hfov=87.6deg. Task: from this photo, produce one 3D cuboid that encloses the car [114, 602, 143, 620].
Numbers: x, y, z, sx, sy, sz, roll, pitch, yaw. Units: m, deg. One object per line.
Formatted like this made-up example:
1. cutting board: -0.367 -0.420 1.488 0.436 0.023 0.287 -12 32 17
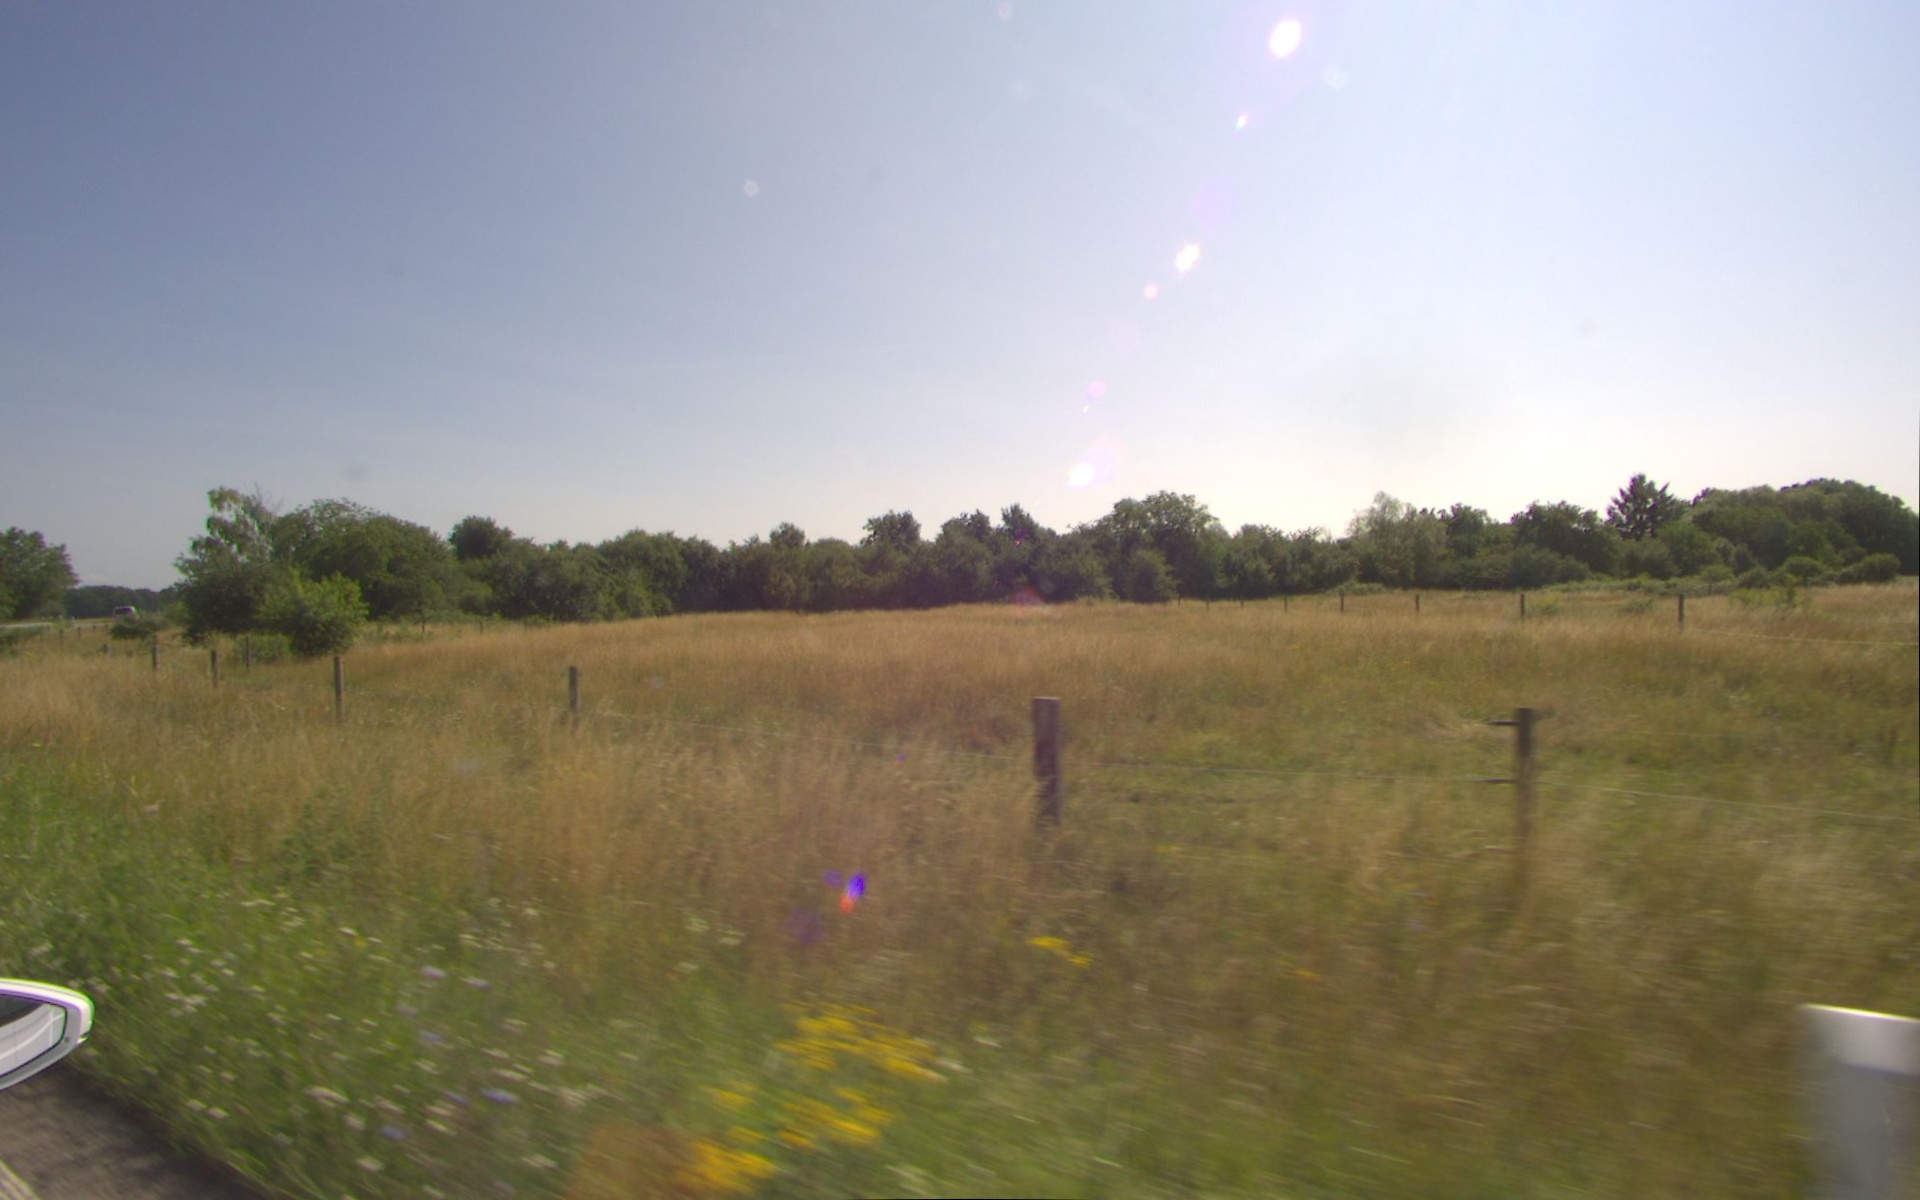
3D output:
1. car: -88.668 1.233 106.801 1.943 1.825 4.135 0 -2 -34
